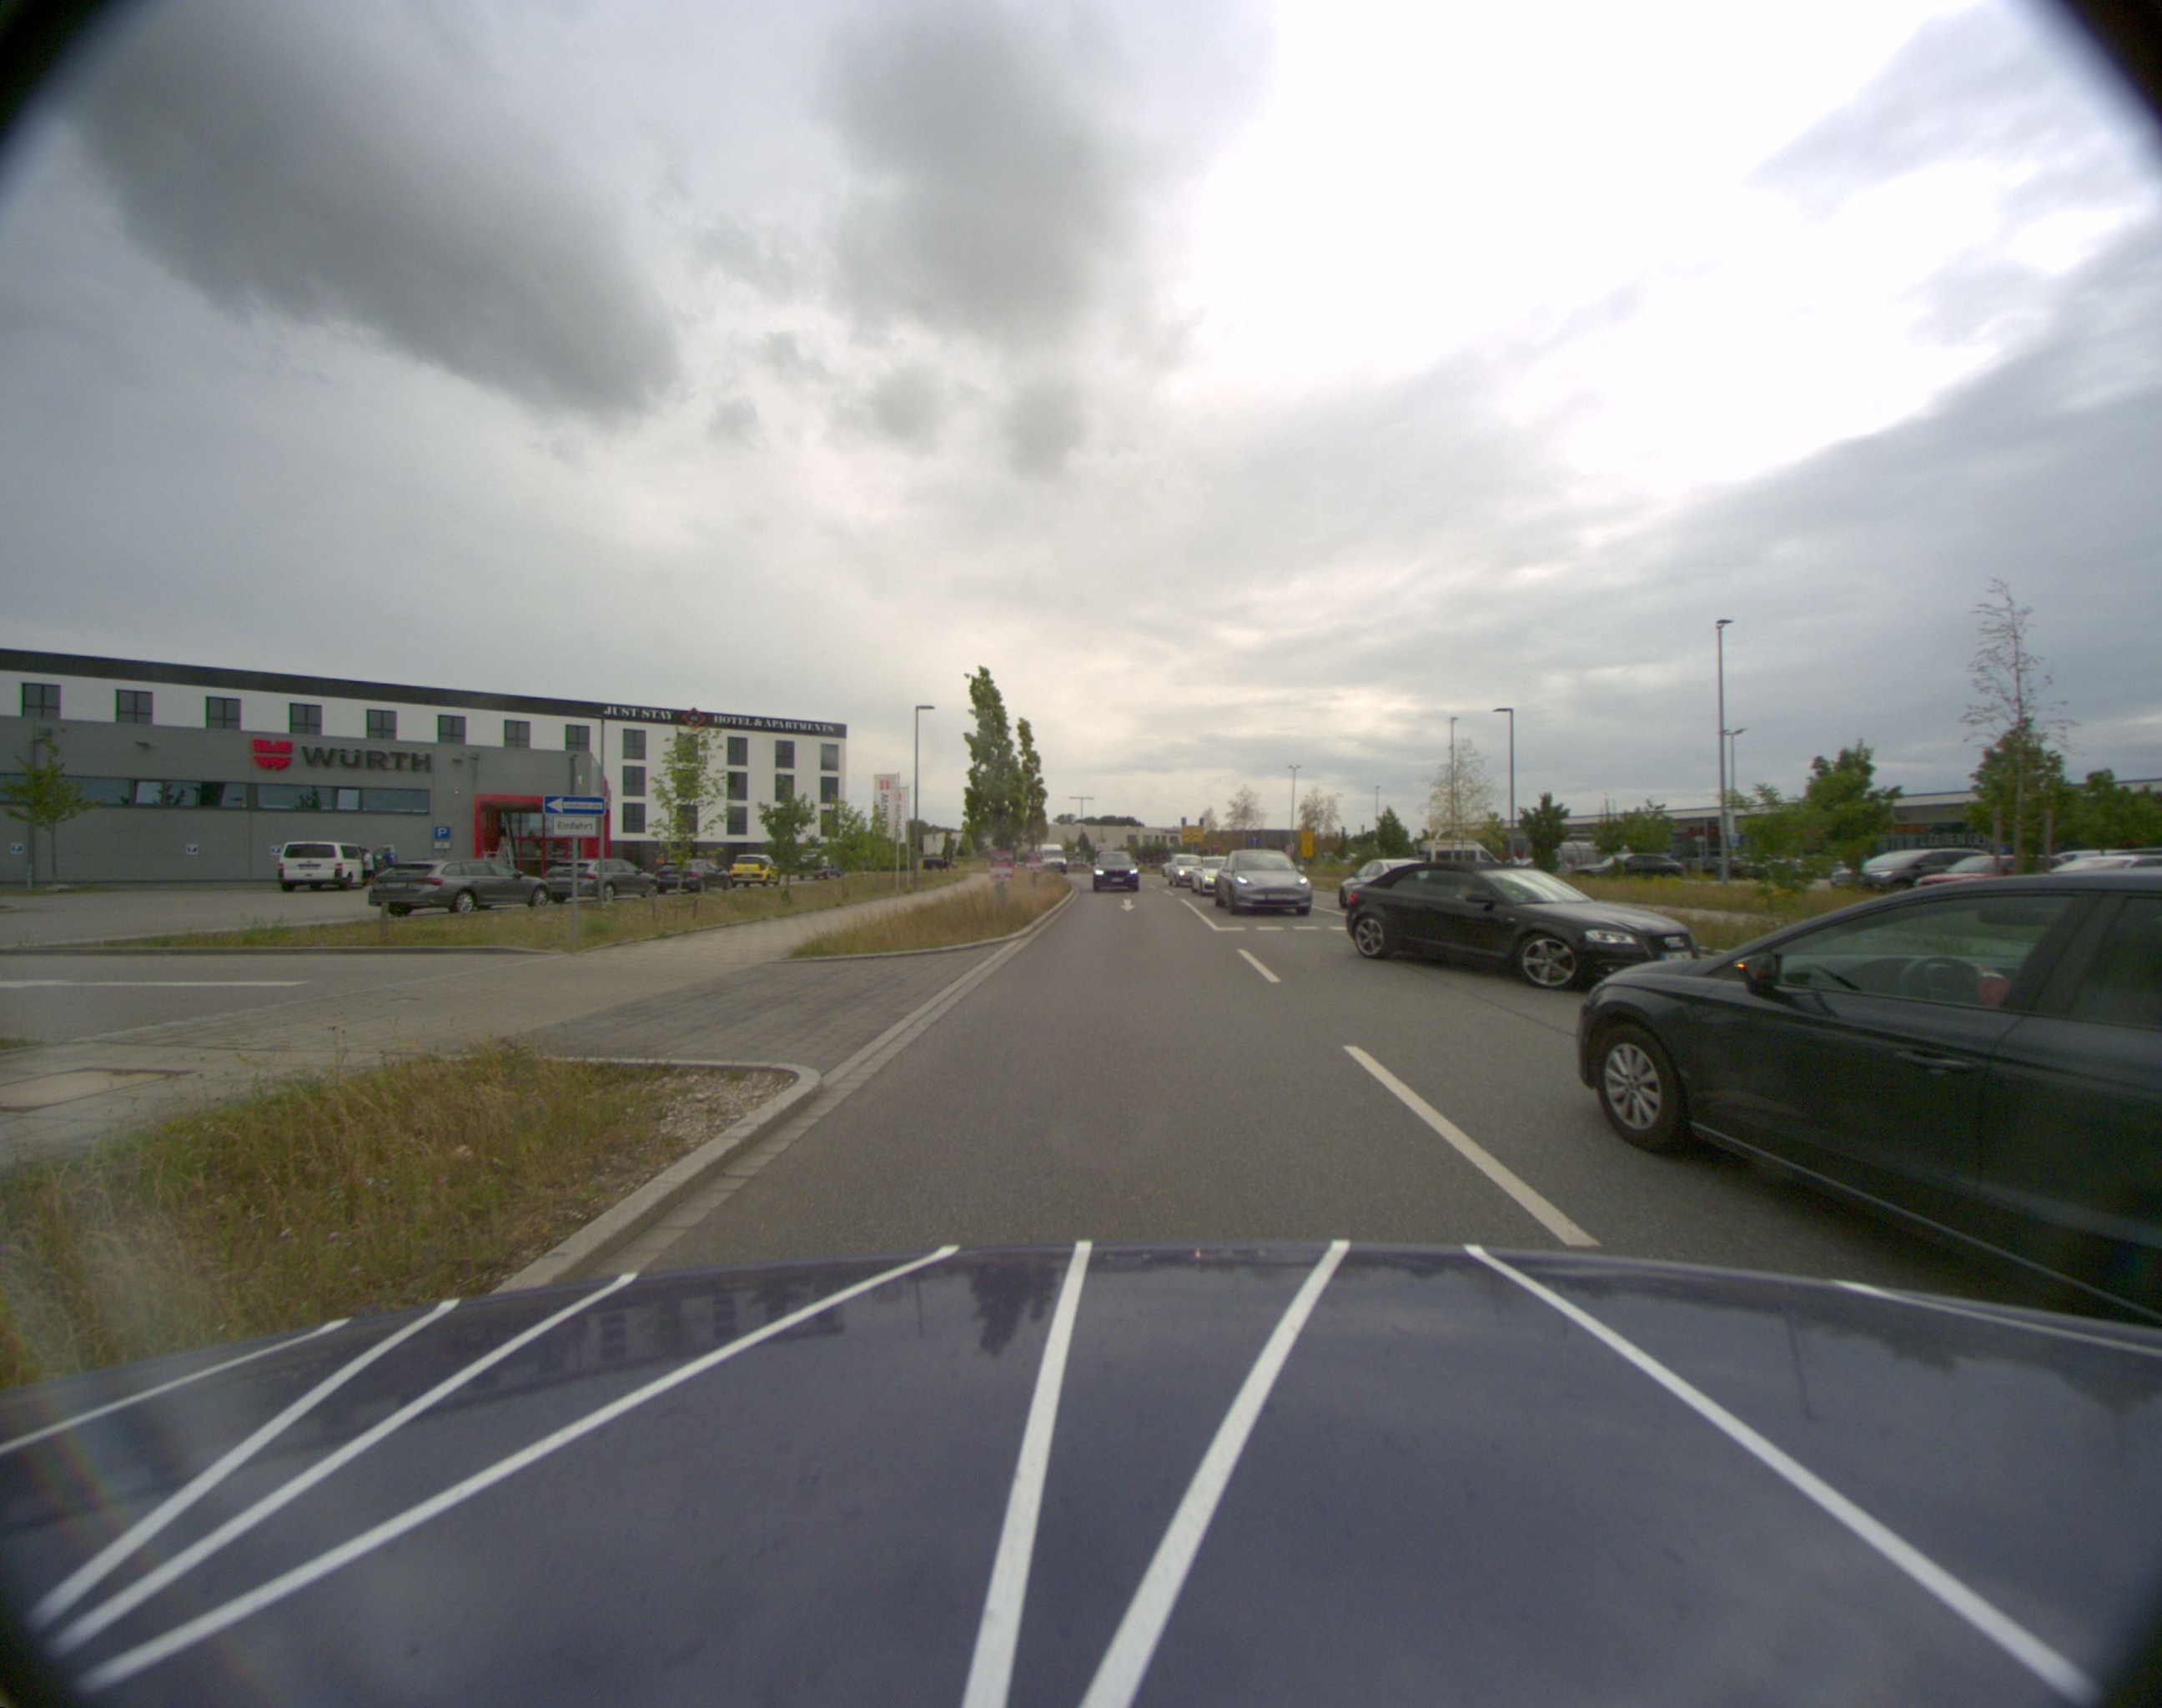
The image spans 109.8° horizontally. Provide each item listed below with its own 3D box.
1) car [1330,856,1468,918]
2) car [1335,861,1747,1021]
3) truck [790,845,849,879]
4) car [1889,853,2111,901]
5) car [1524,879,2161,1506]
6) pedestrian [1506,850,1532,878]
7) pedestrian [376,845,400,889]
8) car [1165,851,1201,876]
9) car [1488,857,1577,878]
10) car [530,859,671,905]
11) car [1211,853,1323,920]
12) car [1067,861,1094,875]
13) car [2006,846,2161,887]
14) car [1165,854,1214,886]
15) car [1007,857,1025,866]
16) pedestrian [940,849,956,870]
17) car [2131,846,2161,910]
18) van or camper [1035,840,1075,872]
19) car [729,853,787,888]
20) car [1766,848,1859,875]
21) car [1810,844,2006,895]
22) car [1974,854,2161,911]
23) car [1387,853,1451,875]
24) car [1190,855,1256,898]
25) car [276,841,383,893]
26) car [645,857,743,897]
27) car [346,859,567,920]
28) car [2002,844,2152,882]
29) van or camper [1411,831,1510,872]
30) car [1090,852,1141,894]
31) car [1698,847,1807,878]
[{"bbox_3d":[8.202,0.791,20.088,1.840,1.409,4.499,1,0,2],"label":"car"},{"bbox_3d":[5.330,0.856,9.556,1.776,1.429,4.222,-1,1,-21],"label":"car"},{"bbox_3d":[-18.962,0.534,55.601,2.233,2.312,8.210,0,0,-6],"label":"truck"},{"bbox_3d":[27.506,0.670,22.870,4.094,1.383,2.001,0,0,3],"label":"car"},{"bbox_3d":[3.545,0.869,2.421,1.834,1.412,4.245,-1,0,1],"label":"car"},{"bbox_3d":[29.929,0.656,51.922,1.011,1.879,1.112,0,0,-18],"label":"pedestrian"},{"bbox_3d":[-29.614,0.564,32.472,0.616,1.857,0.800,-1,0,-33],"label":"pedestrian"},{"bbox_3d":[7.091,0.608,53.399,1.998,1.627,4.703,2,0,2],"label":"car"},{"bbox_3d":[27.538,0.812,46.438,4.336,1.297,2.011,0,0,-4],"label":"car"},{"bbox_3d":[-16.359,0.902,26.238,1.868,1.428,4.879,0,0,-1],"label":"car"},{"bbox_3d":[4.700,0.758,19.917,1.998,1.552,4.614,0,0,3],"label":"car"},{"bbox_3d":[-0.037,1.509,83.613,1.725,1.437,4.228,1,0,-18],"label":"car"},{"bbox_3d":[40.713,0.470,29.907,2.001,1.510,5.099,0,0,-13],"label":"car"},{"bbox_3d":[5.136,0.736,36.333,1.707,1.429,4.032,0,0,-1],"label":"car"},{"bbox_3d":[-9.587,1.121,111.953,1.790,1.313,3.993,-1,0,-19],"label":"car"},{"bbox_3d":[-11.830,0.502,67.739,1.196,1.847,1.072,0,2,-22],"label":"pedestrian"},{"bbox_3d":[27.378,0.546,17.056,4.375,1.496,2.240,0,0,2],"label":"car"},{"bbox_3d":[-2.310,0.171,65.834,2.267,2.601,5.689,0,0,-15],"label":"van or camper"},{"bbox_3d":[-16.479,0.810,38.989,1.768,1.676,4.407,0,0,-10],"label":"car"},{"bbox_3d":[48.354,0.483,50.333,1.887,1.761,3.993,0,0,-19],"label":"car"},{"bbox_3d":[27.536,0.507,25.421,4.311,1.645,2.080,0,0,0],"label":"car"},{"bbox_3d":[27.331,0.739,20.393,4.329,1.448,2.011,0,0,1],"label":"car"},{"bbox_3d":[25.702,0.749,57.793,3.955,1.624,2.084,0,0,-5],"label":"car"},{"bbox_3d":[5.275,0.774,28.660,1.884,1.460,4.193,0,1,2],"label":"car"},{"bbox_3d":[-31.027,0.503,31.540,2.003,1.976,4.625,0,0,-30],"label":"car"},{"bbox_3d":[-16.421,0.921,32.535,1.999,1.488,4.606,0,1,-3],"label":"car"},{"bbox_3d":[-16.561,0.871,20.587,1.966,1.451,4.832,0,0,1],"label":"car"},{"bbox_3d":[52.069,0.453,39.860,2.246,1.863,4.299,0,0,-19],"label":"car"},{"bbox_3d":[26.489,-0.153,53.114,5.871,2.784,2.241,0,1,-7],"label":"van or camper"},{"bbox_3d":[1.412,0.750,32.441,1.998,1.654,4.000,-1,0,0],"label":"car"},{"bbox_3d":[43.137,0.545,48.999,2.160,1.888,4.919,0,0,-15],"label":"car"}]
